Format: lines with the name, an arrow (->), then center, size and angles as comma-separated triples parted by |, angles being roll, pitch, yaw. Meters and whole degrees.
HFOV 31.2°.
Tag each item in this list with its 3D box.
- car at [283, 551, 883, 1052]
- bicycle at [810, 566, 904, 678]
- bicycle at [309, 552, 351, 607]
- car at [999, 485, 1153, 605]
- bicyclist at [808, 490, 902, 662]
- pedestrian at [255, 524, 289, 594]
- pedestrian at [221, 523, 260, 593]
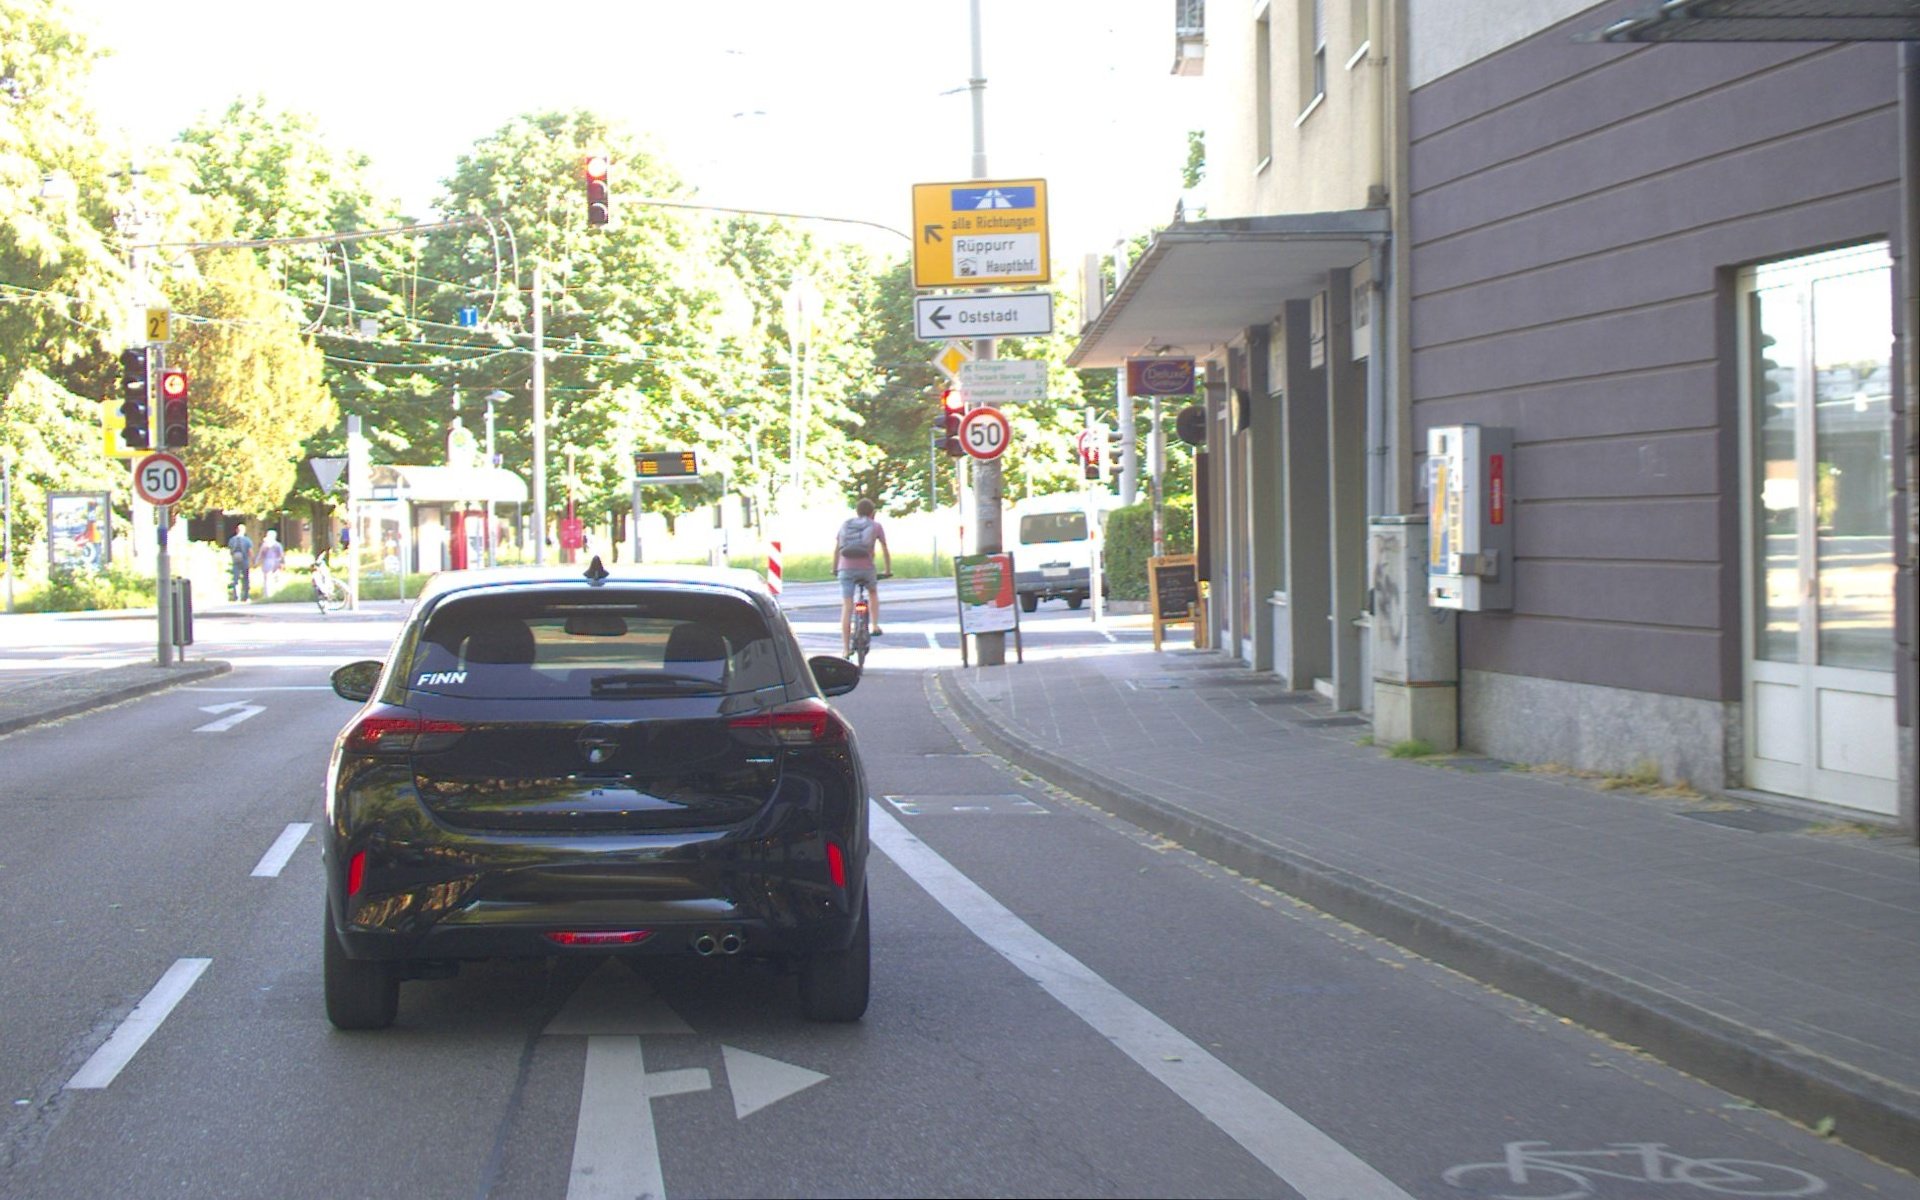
car -> -1.270, 0.549, 12.049 | 1.727, 1.424, 4.188 | 0, 1, -5
bicycle -> -1.146, 0.221, 37.778 | 0.860, 1.149, 2.172 | -1, 1, -6
bicycle -> -12.145, -0.401, 66.315 | 0.605, 1.028, 1.982 | -1, 1, -5
car -> 2.326, -1.109, 67.483 | 2.065, 2.241, 4.884 | -1, 1, 13
bicyclist -> -1.157, -0.268, 37.751 | 0.941, 1.845, 0.864 | -1, 1, -6
pedestrian -> -16.128, -0.964, 80.630 | 0.636, 1.624, 0.572 | 1, 0, 2
pedestrian -> -16.877, -0.976, 80.665 | 0.751, 1.624, 0.597 | 1, 0, 2
